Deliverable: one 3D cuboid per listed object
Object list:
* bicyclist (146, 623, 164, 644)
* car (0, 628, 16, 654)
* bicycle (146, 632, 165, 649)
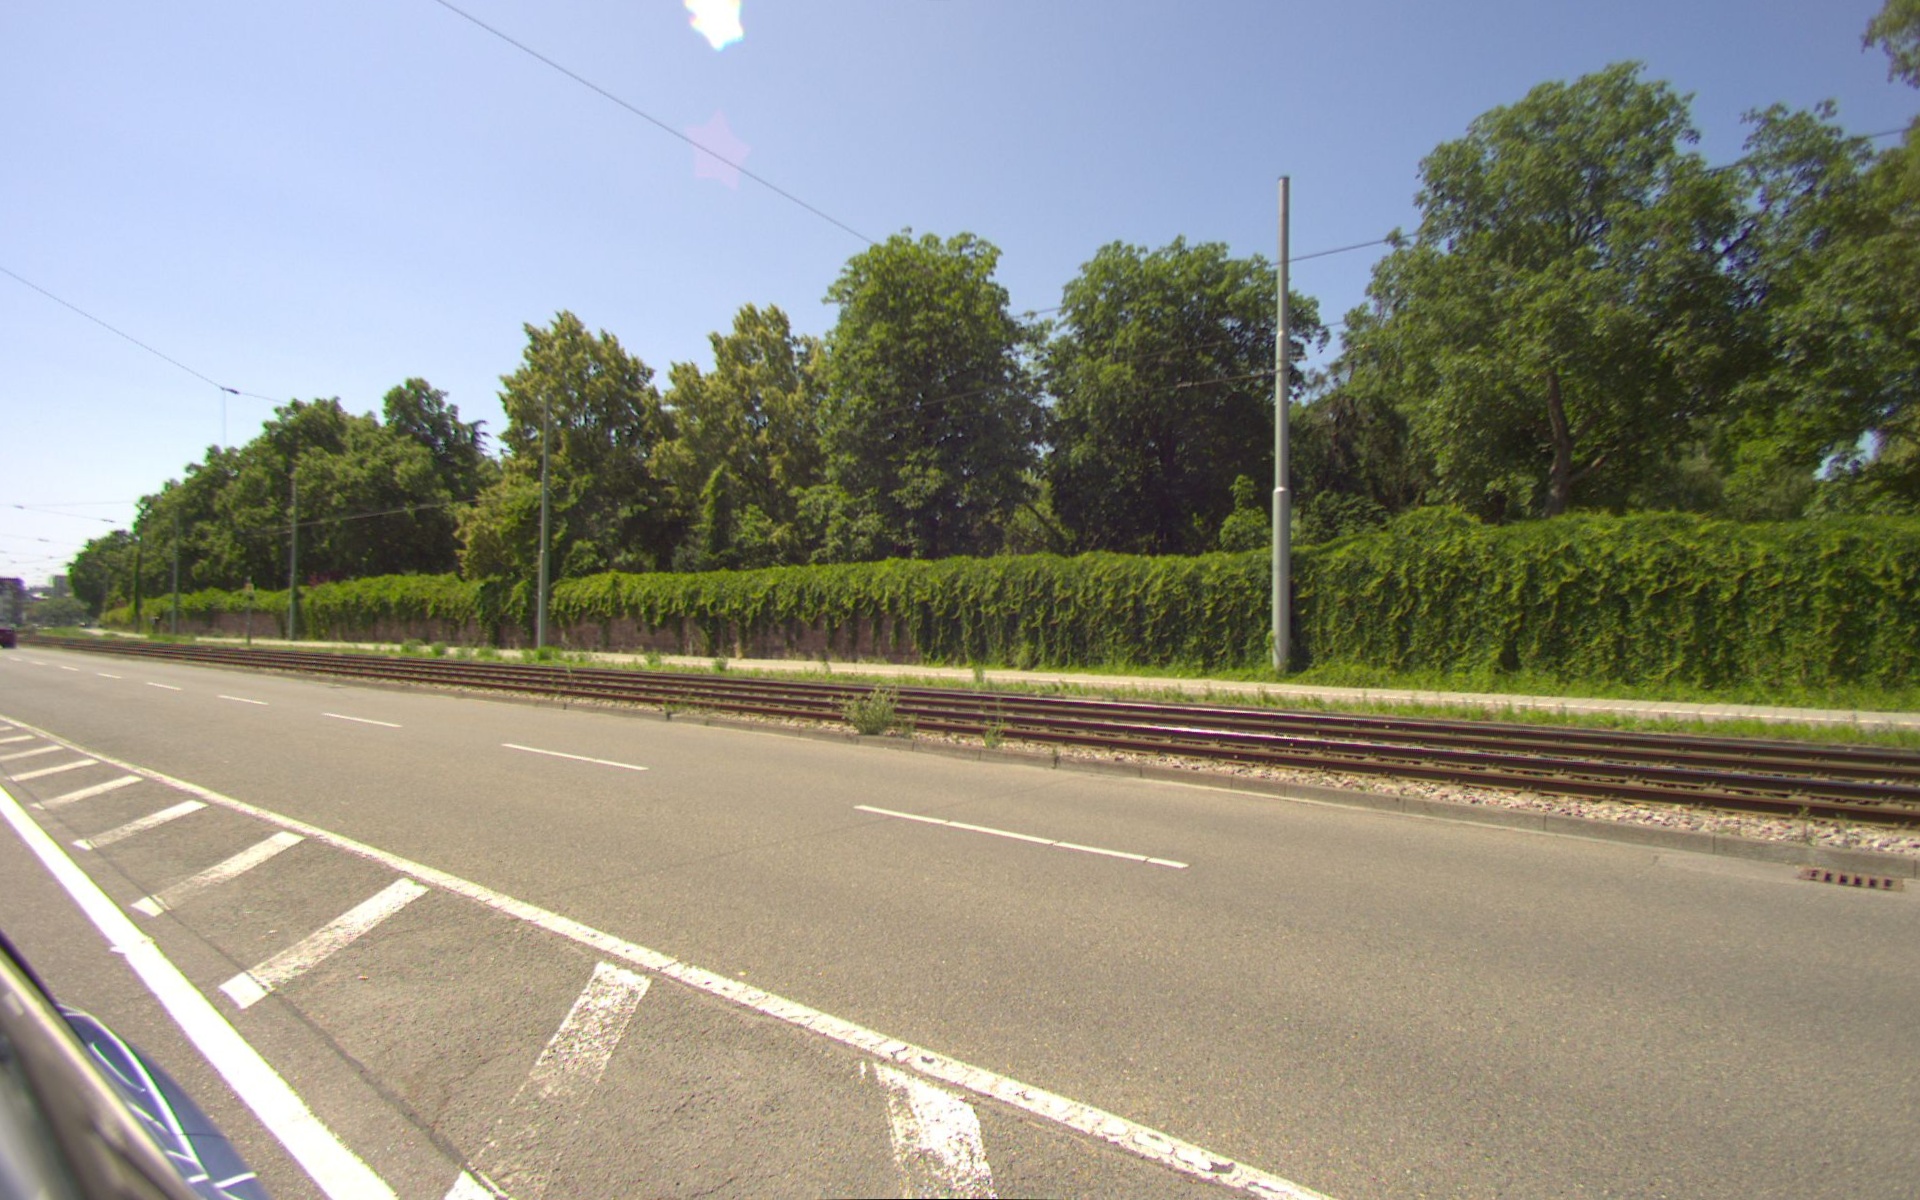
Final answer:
[{"bbox_3d":[-59.874,2.476,75.259,0.983,1.497,1.001,1,-2,-44],"label":"bicyclist"},{"bbox_3d":[-51.040,2.137,52.992,4.538,1.369,1.962,-1,-2,43],"label":"car"},{"bbox_3d":[-59.648,2.990,75.030,0.819,1.165,2.687,1,-2,-44],"label":"bicycle"}]
